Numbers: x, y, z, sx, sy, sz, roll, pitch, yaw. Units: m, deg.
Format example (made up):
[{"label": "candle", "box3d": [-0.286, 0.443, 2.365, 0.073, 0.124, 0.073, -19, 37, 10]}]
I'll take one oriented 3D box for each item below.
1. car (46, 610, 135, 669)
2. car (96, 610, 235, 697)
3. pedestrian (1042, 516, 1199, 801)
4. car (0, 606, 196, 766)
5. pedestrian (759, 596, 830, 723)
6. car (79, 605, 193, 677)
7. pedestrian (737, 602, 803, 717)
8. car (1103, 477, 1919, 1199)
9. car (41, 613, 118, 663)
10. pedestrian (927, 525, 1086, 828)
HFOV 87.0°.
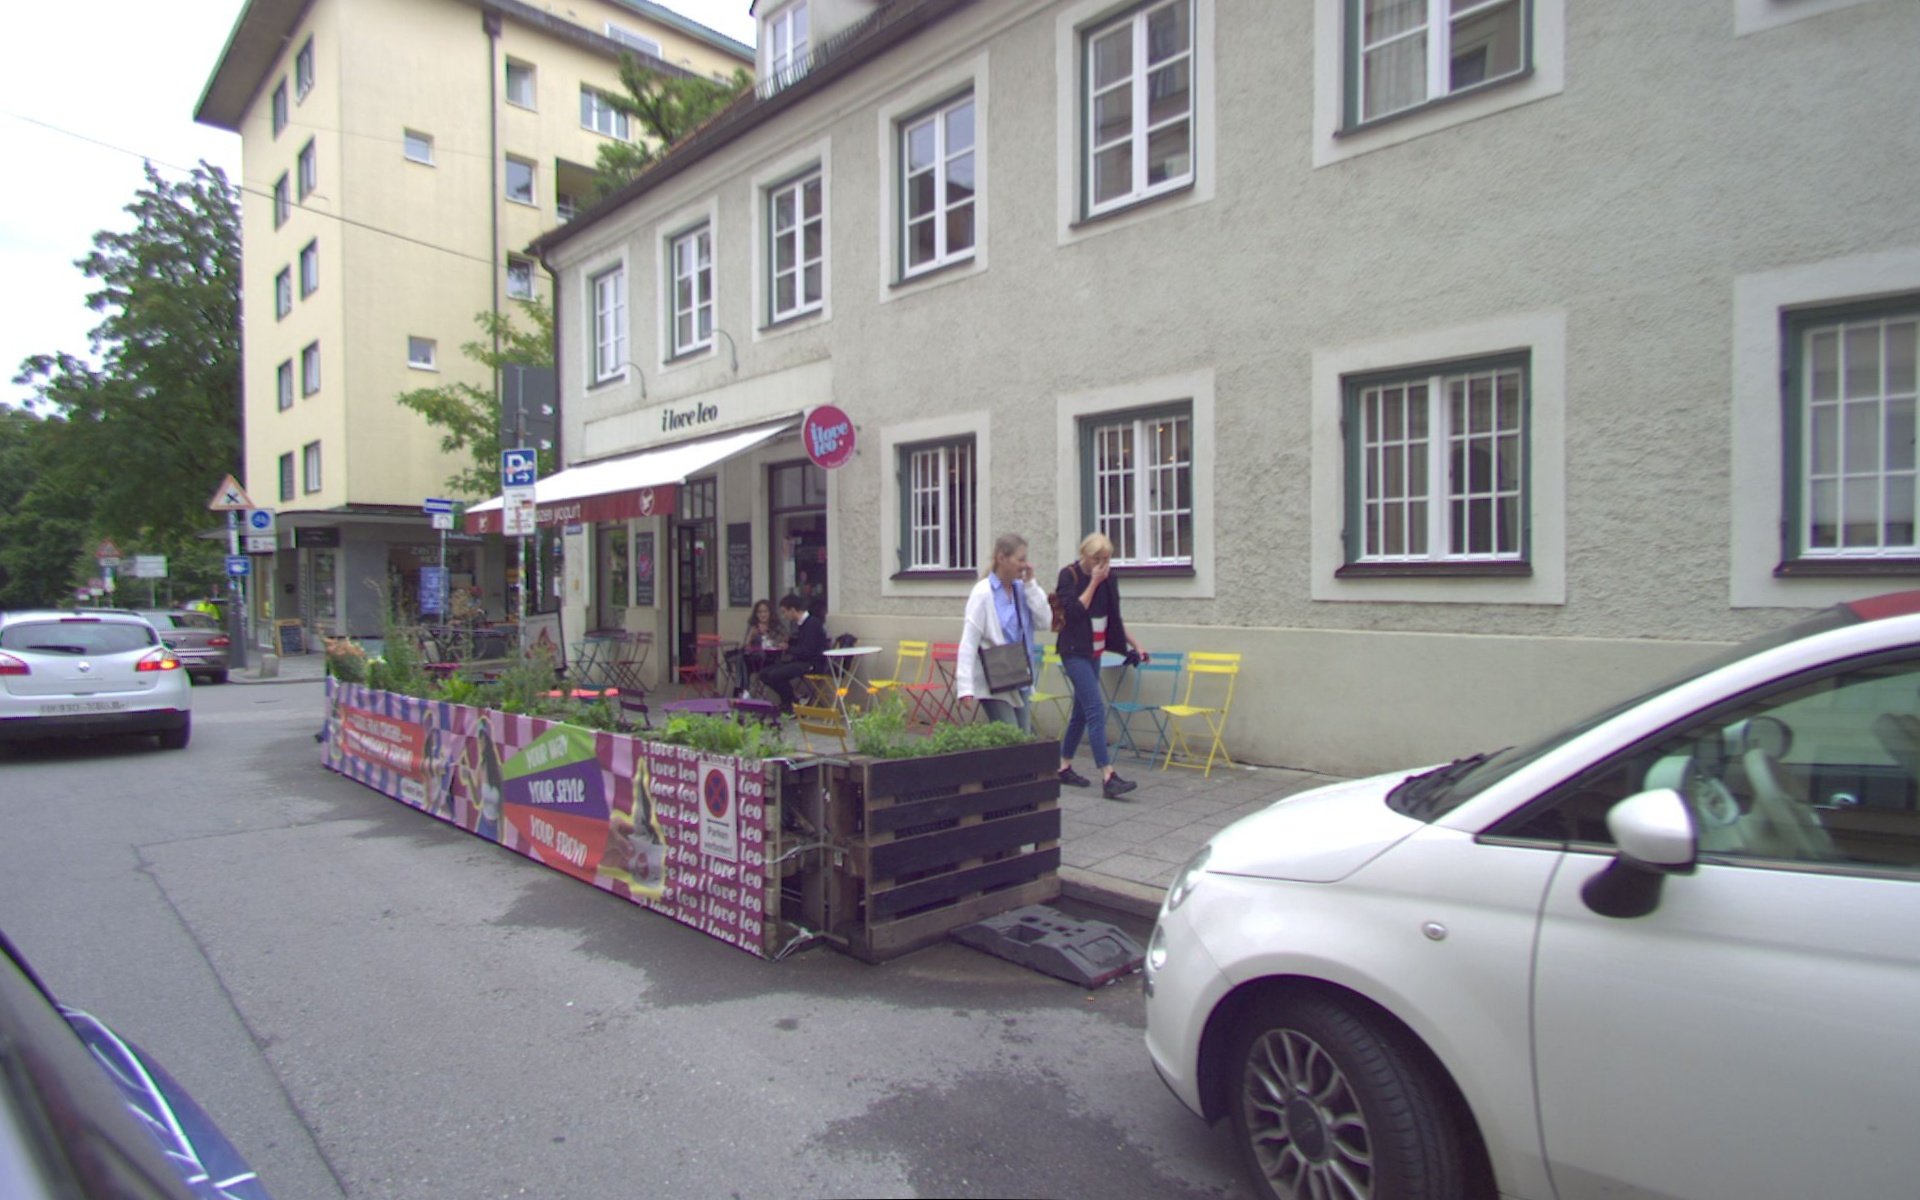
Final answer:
[{"label": "car", "box3d": [-25.541, 1.109, 29.674, 1.687, 1.571, 4.002, -1, 0, -45]}, {"label": "car", "box3d": [-15.680, 0.968, 19.908, 1.687, 1.511, 4.002, -1, 0, -45]}, {"label": "pedestrian", "box3d": [1.039, 0.354, 6.570, 0.806, 1.711, 0.574, -1, 0, 42]}, {"label": "car", "box3d": [-9.613, 0.792, 10.844, 1.768, 1.428, 3.907, 1, -1, -45]}, {"label": "pedestrian", "box3d": [-1.742, 0.611, 10.635, 0.515, 1.275, 0.549, -3, -1, -30]}, {"label": "car", "box3d": [-19.415, 0.904, 23.784, 1.687, 1.511, 4.002, -1, 0, -45]}, {"label": "pedestrian", "box3d": [-2.137, 0.653, 11.343, 0.501, 1.222, 0.596, -3, -1, -30]}, {"label": "car", "box3d": [2.138, 0.560, 1.866, 3.423, 1.526, 1.552, -1, 1, 43]}, {"label": "car", "box3d": [-29.735, 1.233, 34.138, 1.687, 1.571, 4.002, -1, 0, -45]}, {"label": "pedestrian", "box3d": [0.266, 0.405, 5.813, 0.663, 1.610, 0.606, -1, 0, 42]}]
